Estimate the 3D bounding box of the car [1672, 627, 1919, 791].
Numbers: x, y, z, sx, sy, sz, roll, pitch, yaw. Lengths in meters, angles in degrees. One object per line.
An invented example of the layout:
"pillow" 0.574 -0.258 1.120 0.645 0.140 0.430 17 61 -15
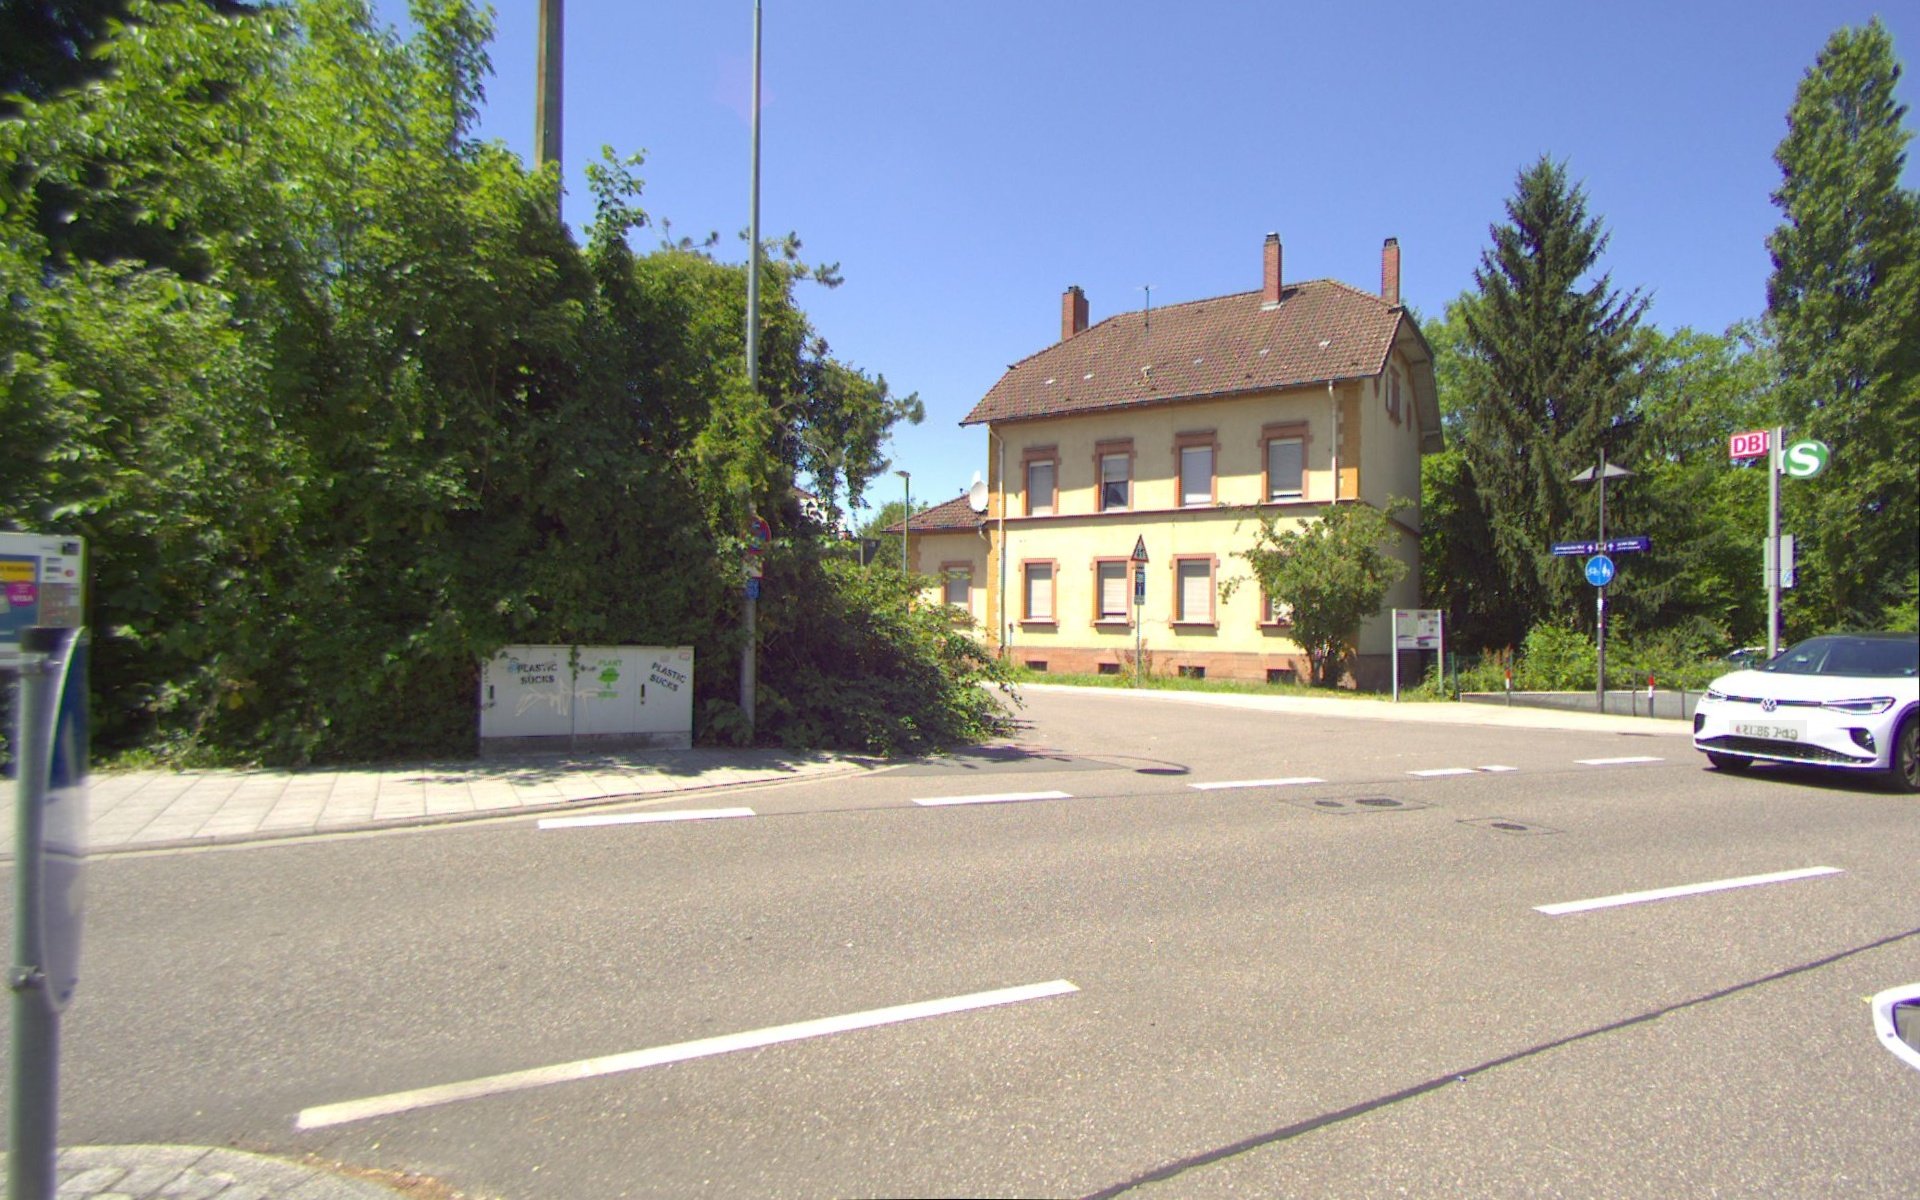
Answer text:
"car" 10.377 1.119 11.337 4.276 1.551 1.841 1 -1 -23
